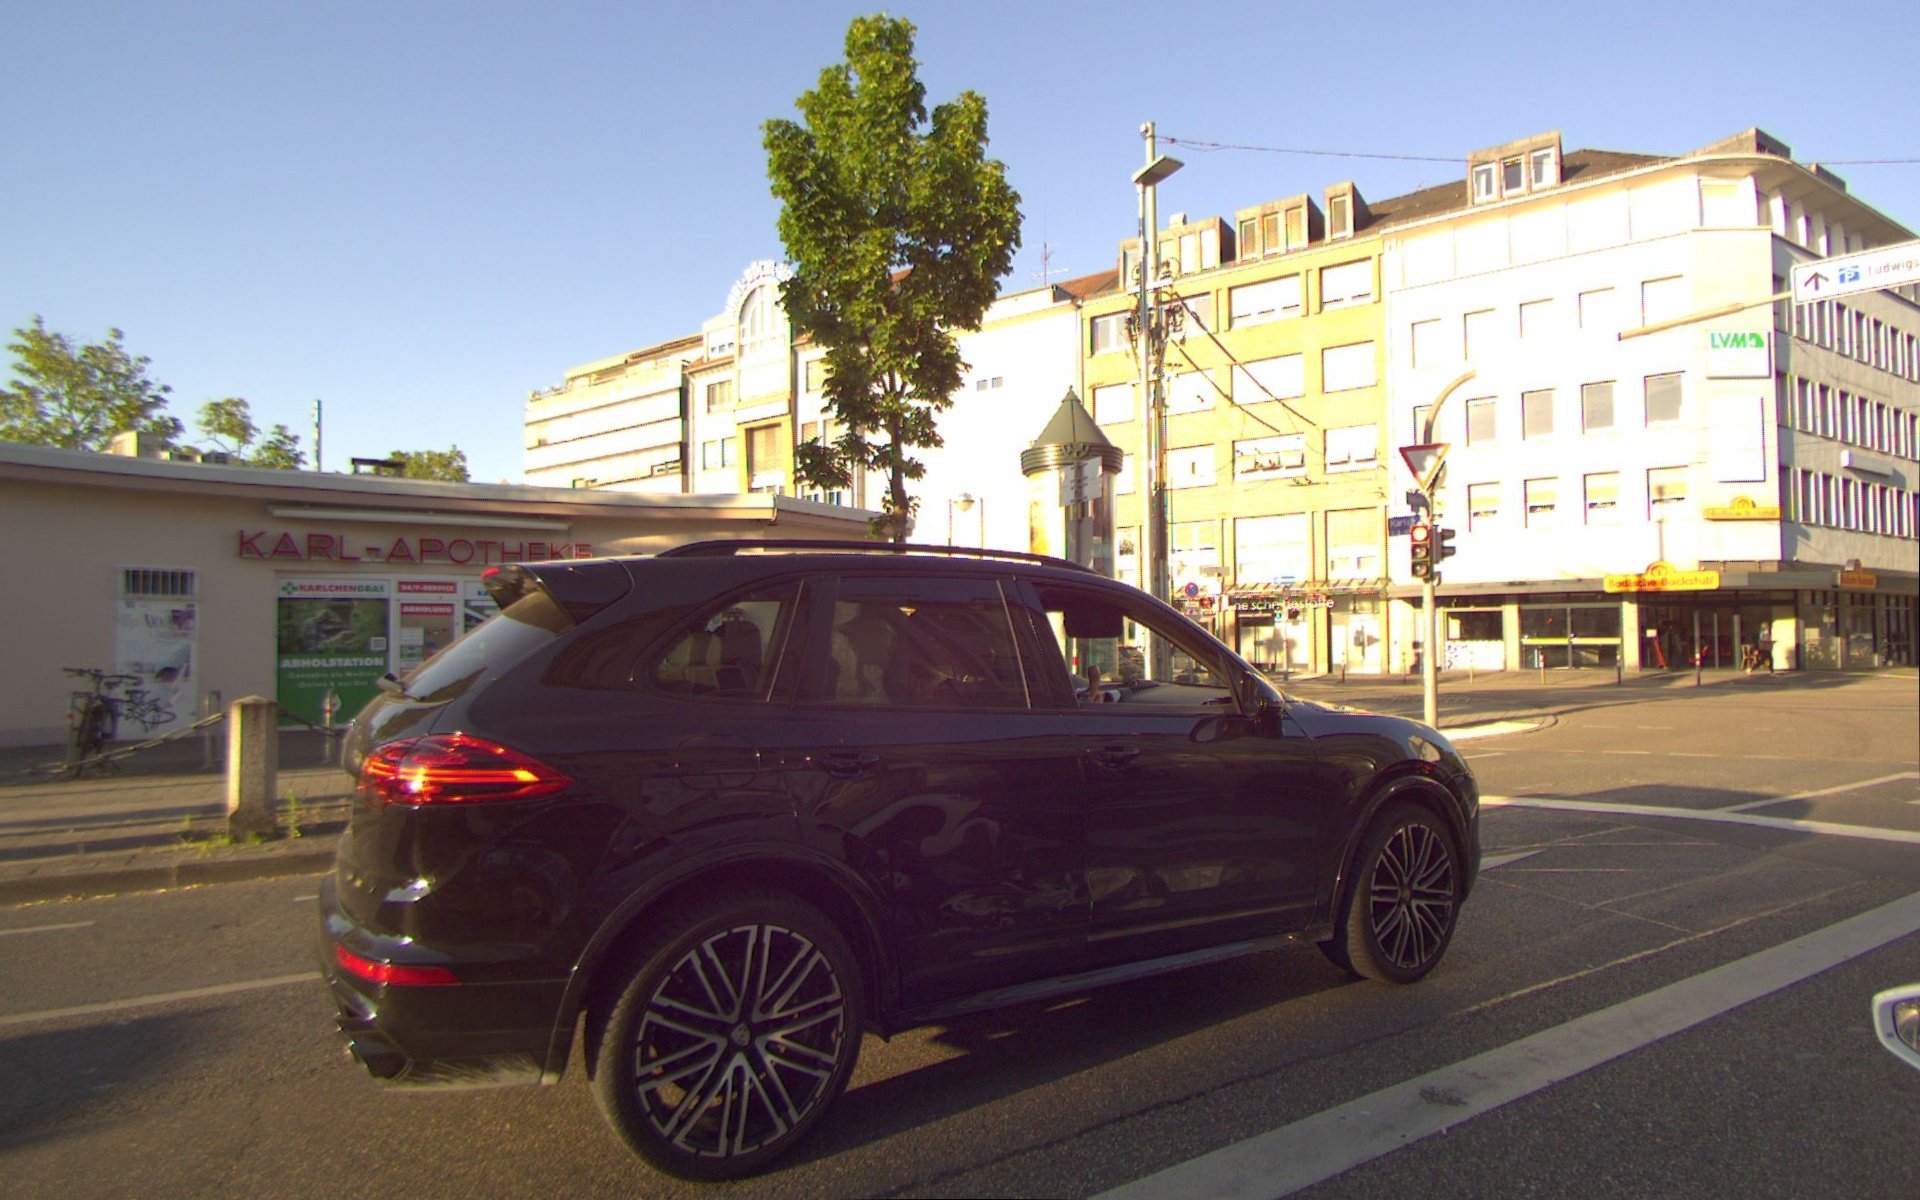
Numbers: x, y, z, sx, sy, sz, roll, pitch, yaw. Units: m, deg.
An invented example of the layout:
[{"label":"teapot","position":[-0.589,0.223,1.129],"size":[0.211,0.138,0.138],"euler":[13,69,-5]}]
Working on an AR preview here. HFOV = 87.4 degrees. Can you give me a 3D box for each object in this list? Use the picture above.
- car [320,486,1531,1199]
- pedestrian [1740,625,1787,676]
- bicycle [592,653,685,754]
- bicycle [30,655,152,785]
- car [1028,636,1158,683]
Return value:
[{"label":"car","position":[0.096,0.694,4.114],"size":[4.510,1.736,1.939],"euler":[1,-3,-32]},{"label":"pedestrian","position":[24.823,1.563,31.050],"size":[0.931,1.557,0.907],"euler":[-1,-2,27]},{"label":"bicycle","position":[-4.524,1.377,14.001],"size":[0.778,1.273,2.433],"euler":[1,-3,-29]},{"label":"bicycle","position":[-9.467,1.253,11.013],"size":[0.625,1.273,1.846],"euler":[1,-3,-29]},{"label":"car","position":[4.789,2.125,36.449],"size":[4.382,1.616,1.870],"euler":[-2,-2,39]}]
